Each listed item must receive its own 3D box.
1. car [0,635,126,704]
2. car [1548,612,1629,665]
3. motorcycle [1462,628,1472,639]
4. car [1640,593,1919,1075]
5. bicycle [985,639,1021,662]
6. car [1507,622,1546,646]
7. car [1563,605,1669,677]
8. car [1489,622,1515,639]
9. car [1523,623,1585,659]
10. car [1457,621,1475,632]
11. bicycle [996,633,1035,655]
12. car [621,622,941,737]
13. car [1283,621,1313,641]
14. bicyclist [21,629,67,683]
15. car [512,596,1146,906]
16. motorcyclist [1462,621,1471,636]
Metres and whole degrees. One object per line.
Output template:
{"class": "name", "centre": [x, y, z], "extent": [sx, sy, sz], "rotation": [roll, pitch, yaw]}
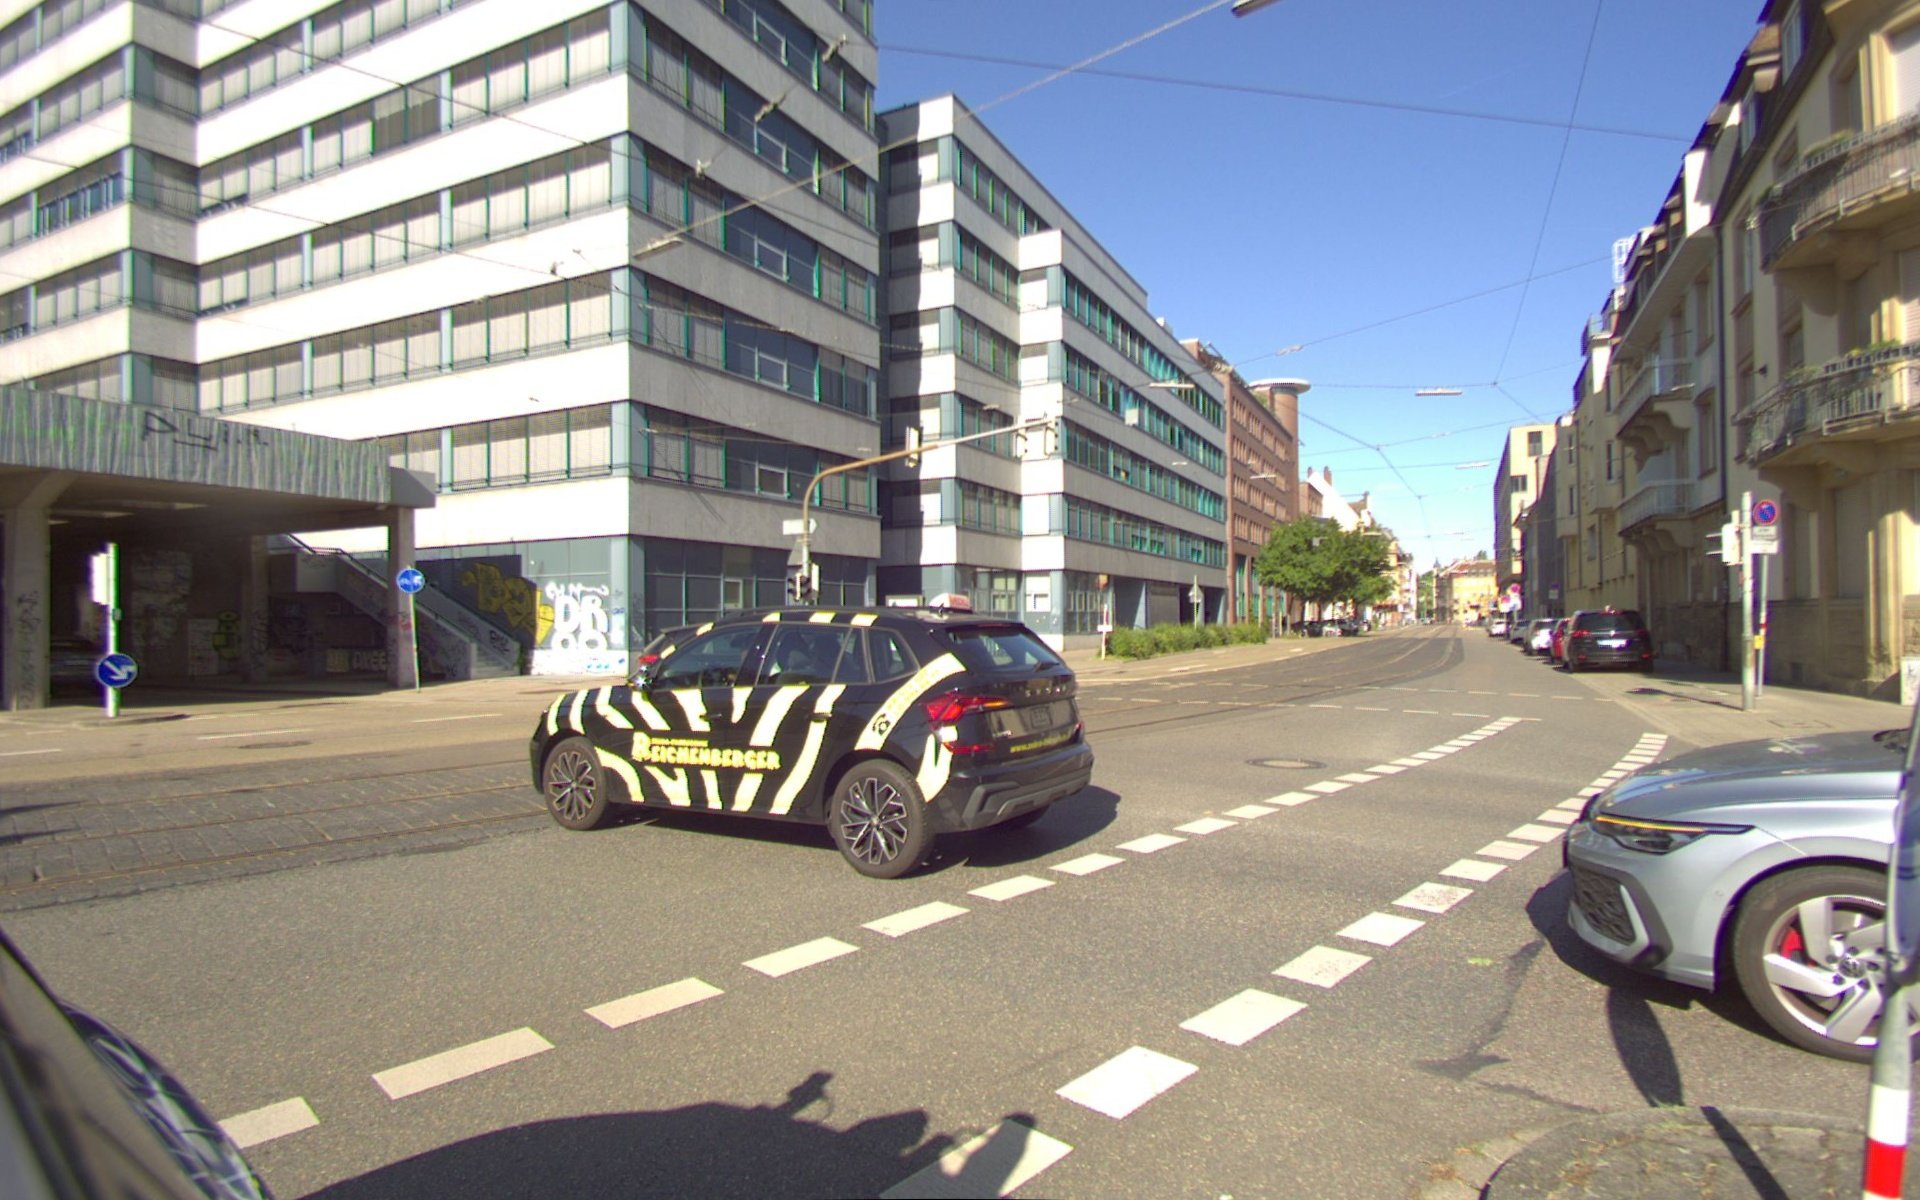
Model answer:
{"class": "car", "centre": [-23.618, 1.733, 25.952], "extent": [4.125, 1.622, 1.874], "rotation": [-2, -2, 25]}
{"class": "car", "centre": [19.758, 1.175, 31.969], "extent": [1.890, 1.552, 3.853], "rotation": [-1, -2, 28]}
{"class": "motorcycle", "centre": [61.951, 4.094, 123.699], "extent": [0.911, 1.242, 2.741], "rotation": [-1, -2, 23]}
{"class": "car", "centre": [4.399, 0.711, 3.033], "extent": [3.844, 1.463, 1.692], "rotation": [-1, -1, 37]}
{"class": "bicycle", "centre": [1.963, 2.298, 46.353], "extent": [1.662, 0.988, 0.481], "rotation": [-1, -1, 37]}
{"class": "car", "centre": [34.227, 2.043, 61.194], "extent": [1.956, 1.373, 3.803], "rotation": [-3, -3, 29]}
{"class": "car", "centre": [17.221, 1.039, 26.766], "extent": [1.953, 1.737, 4.133], "rotation": [-1, -2, 28]}
{"class": "car", "centre": [45.436, 2.561, 84.840], "extent": [1.796, 1.373, 3.676], "rotation": [-3, -3, 29]}
{"class": "car", "centre": [23.942, 1.634, 40.897], "extent": [1.991, 1.373, 3.803], "rotation": [-3, -3, 29]}
{"class": "car", "centre": [62.468, 3.264, 125.023], "extent": [1.796, 1.373, 3.676], "rotation": [-3, -3, 29]}
{"class": "bicycle", "centre": [2.594, 2.043, 47.475], "extent": [1.896, 0.988, 0.481], "rotation": [-1, -1, 37]}
{"class": "car", "centre": [-2.546, 1.082, 14.572], "extent": [4.255, 1.462, 1.811], "rotation": [0, -2, -11]}
{"class": "car", "centre": [28.556, 2.601, 85.545], "extent": [1.772, 1.614, 3.962], "rotation": [-2, -2, 28]}
{"class": "bicyclist", "centre": [-29.190, 1.777, 32.248], "extent": [1.026, 1.673, 0.777], "rotation": [-2, -2, 28]}
{"class": "car", "centre": [-1.005, 0.814, 6.863], "extent": [4.103, 1.525, 1.774], "rotation": [-2, -2, 33]}
{"class": "motorcyclist", "centre": [61.863, 3.479, 123.577], "extent": [0.936, 1.884, 1.047], "rotation": [-1, -2, 23]}
